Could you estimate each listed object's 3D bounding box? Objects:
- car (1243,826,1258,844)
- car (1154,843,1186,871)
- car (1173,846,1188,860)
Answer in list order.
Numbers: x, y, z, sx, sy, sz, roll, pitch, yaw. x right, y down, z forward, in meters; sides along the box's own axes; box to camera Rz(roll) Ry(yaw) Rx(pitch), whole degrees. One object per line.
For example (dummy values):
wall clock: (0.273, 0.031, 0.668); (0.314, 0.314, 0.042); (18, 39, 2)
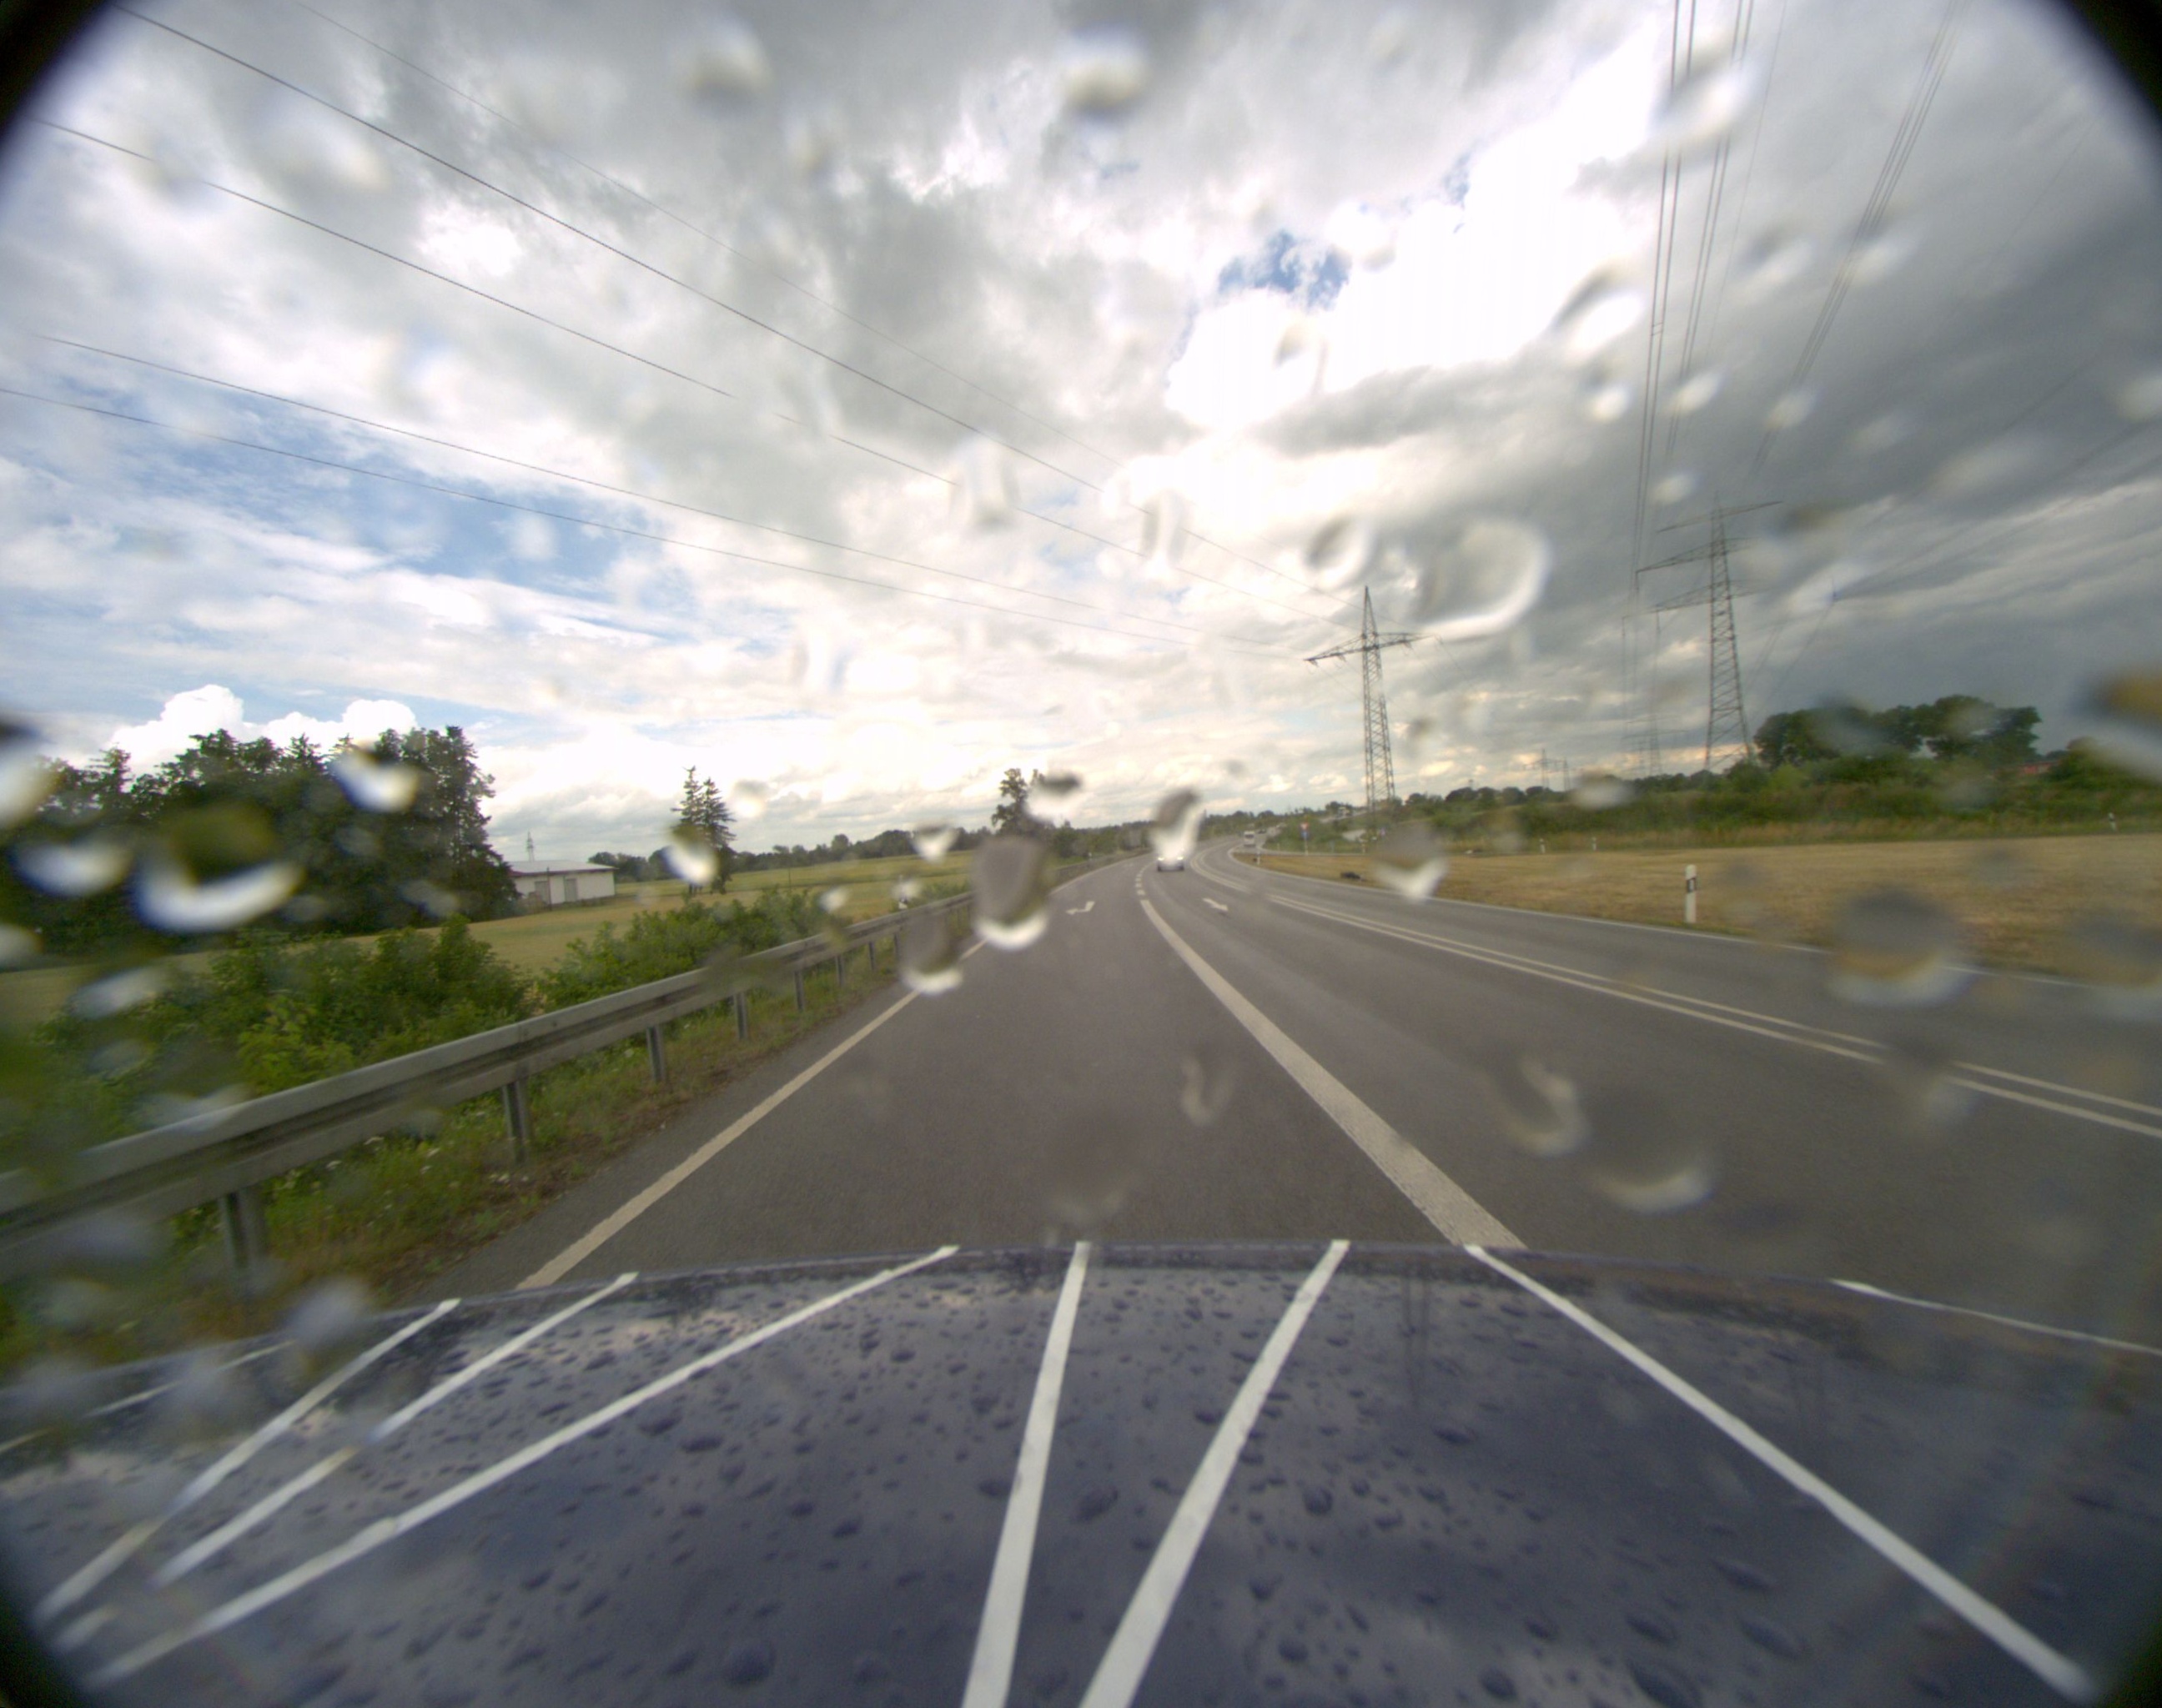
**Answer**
car: (29.240, -3.263, 130.597); (2.211, 2.733, 6.026); (-5, 0, 14)
car: (6.281, 0.158, 53.888); (1.796, 1.759, 3.999); (-3, 1, 2)
car: (12.826, -0.142, 97.525); (1.747, 1.488, 4.051); (-3, 1, 8)
